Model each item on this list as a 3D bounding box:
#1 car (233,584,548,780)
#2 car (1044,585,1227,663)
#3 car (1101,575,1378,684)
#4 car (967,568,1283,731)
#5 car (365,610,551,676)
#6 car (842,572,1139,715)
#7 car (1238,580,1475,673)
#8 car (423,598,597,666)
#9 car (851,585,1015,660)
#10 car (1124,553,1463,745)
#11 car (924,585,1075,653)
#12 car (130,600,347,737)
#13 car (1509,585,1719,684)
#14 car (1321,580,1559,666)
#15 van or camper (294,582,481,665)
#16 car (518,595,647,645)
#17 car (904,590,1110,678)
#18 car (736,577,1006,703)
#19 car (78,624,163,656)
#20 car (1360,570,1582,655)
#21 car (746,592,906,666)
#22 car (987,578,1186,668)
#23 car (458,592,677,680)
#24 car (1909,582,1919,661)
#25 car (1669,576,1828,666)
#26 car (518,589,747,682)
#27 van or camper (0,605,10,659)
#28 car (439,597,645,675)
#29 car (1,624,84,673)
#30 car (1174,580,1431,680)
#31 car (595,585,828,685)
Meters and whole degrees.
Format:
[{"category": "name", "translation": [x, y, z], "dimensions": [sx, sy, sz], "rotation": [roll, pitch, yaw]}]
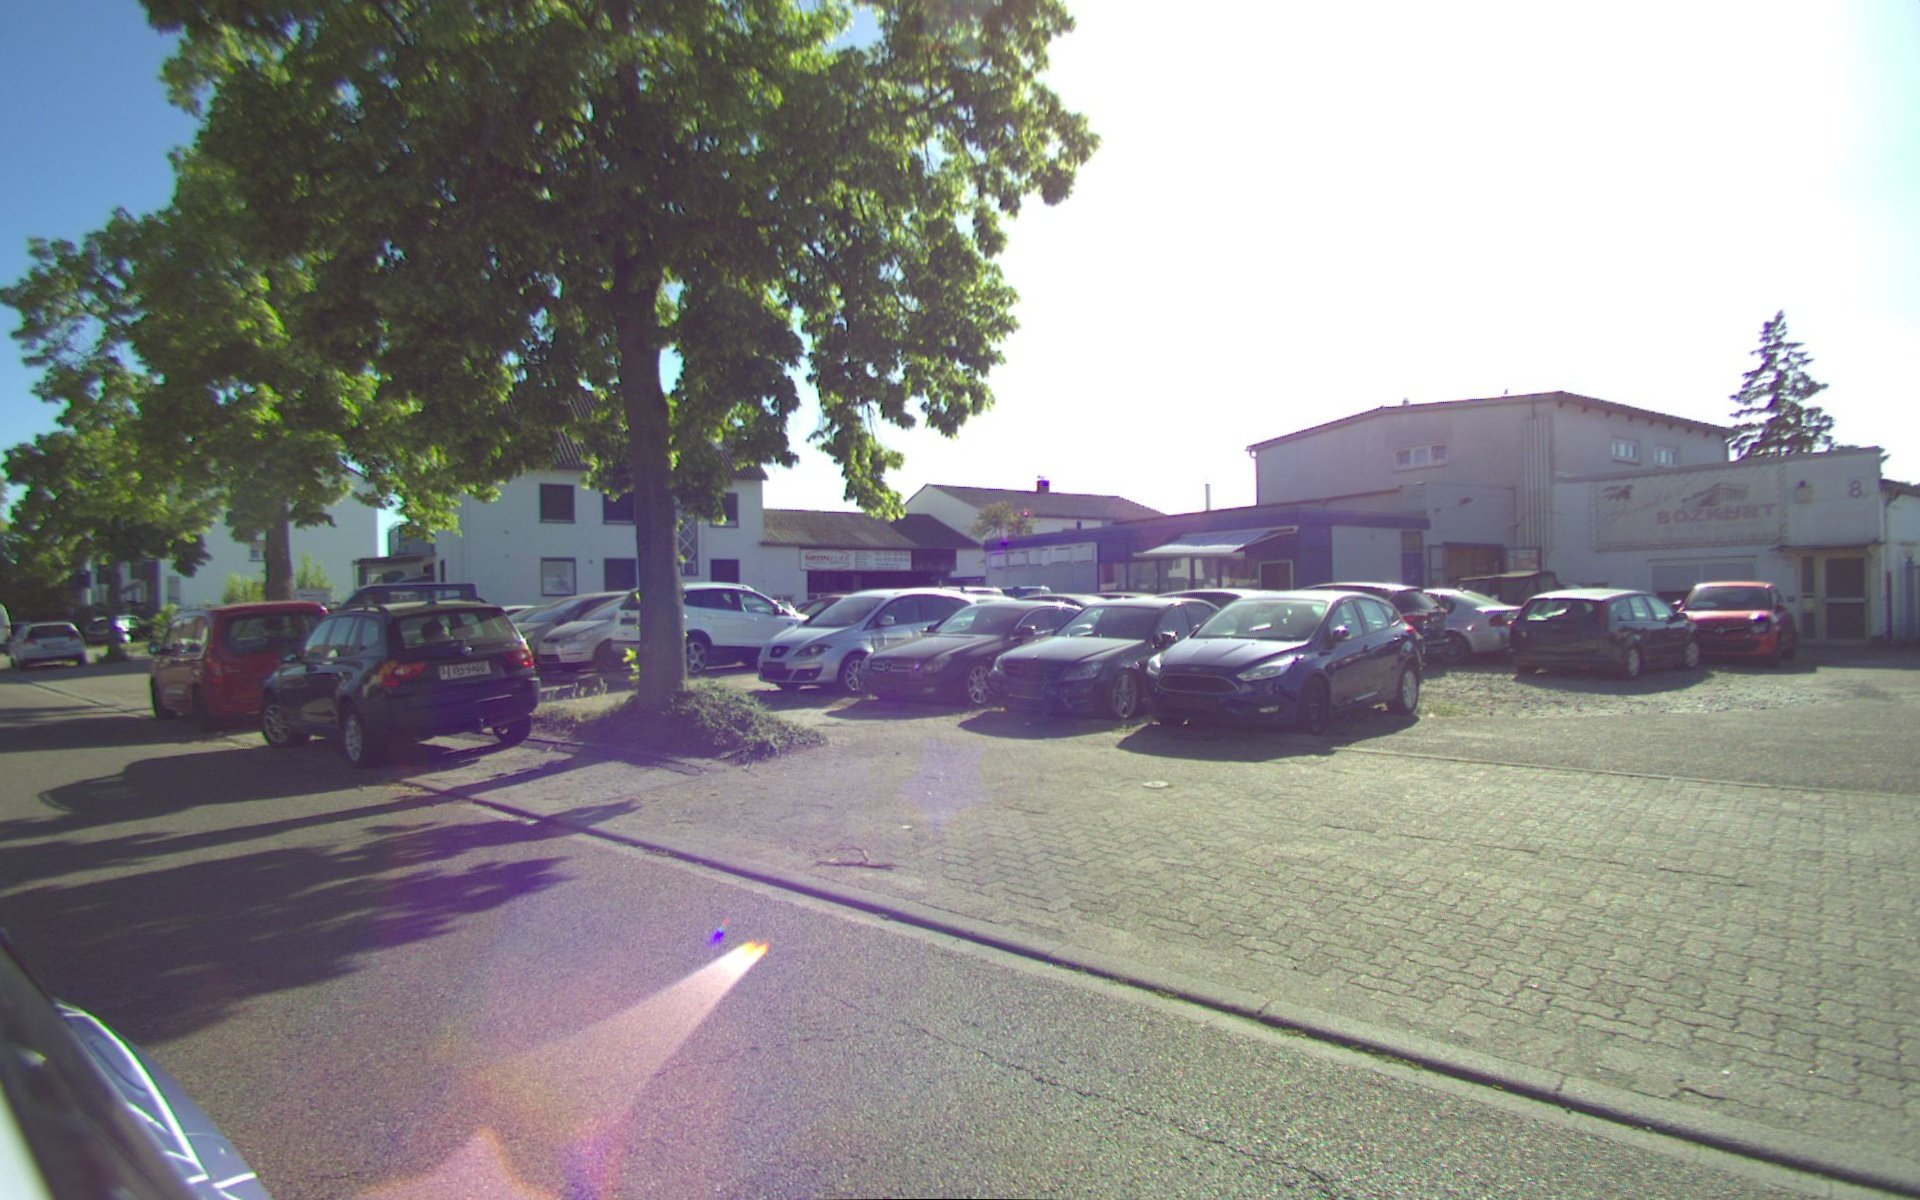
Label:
[{"category": "car", "translation": [-6.669, 0.812, 11.615], "dimensions": [4.552, 1.784, 1.657], "rotation": [-2, 2, 41]}, {"category": "car", "translation": [3.833, 0.514, 22.583], "dimensions": [1.644, 1.576, 3.785], "rotation": [-1, 0, -43]}, {"category": "car", "translation": [4.365, 0.439, 16.270], "dimensions": [1.644, 1.528, 4.004], "rotation": [-1, 0, -43]}, {"category": "car", "translation": [2.226, 0.529, 12.885], "dimensions": [4.198, 1.742, 1.767], "rotation": [-1, -1, -43]}, {"category": "car", "translation": [-13.600, 1.113, 27.589], "dimensions": [4.198, 1.553, 1.767], "rotation": [-2, 0, -43]}, {"category": "car", "translation": [0.552, 0.527, 14.448], "dimensions": [4.198, 1.742, 1.767], "rotation": [-1, -1, -43]}, {"category": "car", "translation": [7.445, 0.472, 19.245], "dimensions": [1.644, 1.576, 3.853], "rotation": [-1, 0, -43]}, {"category": "car", "translation": [-11.451, 0.767, 25.952], "dimensions": [1.547, 1.553, 3.765], "rotation": [-2, 0, 41]}, {"category": "car", "translation": [-0.716, 0.512, 23.968], "dimensions": [1.644, 1.631, 4.004], "rotation": [-1, 0, -43]}, {"category": "car", "translation": [3.837, 0.442, 11.241], "dimensions": [4.198, 1.742, 1.767], "rotation": [-1, -1, -43]}, {"category": "car", "translation": [0.929, 0.480, 25.524], "dimensions": [1.644, 1.576, 3.720], "rotation": [-1, 0, -43]}, {"category": "car", "translation": [-11.307, 0.963, 15.746], "dimensions": [4.340, 1.765, 1.785], "rotation": [-2, 1, 42]}, {"category": "car", "translation": [11.146, 0.505, 17.171], "dimensions": [3.934, 1.461, 1.673], "rotation": [-1, 1, -36]}, {"category": "car", "translation": [9.503, 0.438, 20.329], "dimensions": [1.642, 1.528, 4.010], "rotation": [-1, 0, -35]}, {"category": "van or camper", "translation": [-17.825, 0.648, 31.595], "dimensions": [4.828, 2.337, 2.249], "rotation": [-2, 1, -36]}, {"category": "car", "translation": [-13.095, 0.646, 35.175], "dimensions": [3.929, 1.591, 1.683], "rotation": [0, 1, -36]}, {"category": "car", "translation": [0.830, 0.631, 19.745], "dimensions": [1.644, 1.528, 4.004], "rotation": [-1, 0, -43]}, {"category": "car", "translation": [-1.307, 0.559, 16.239], "dimensions": [1.766, 1.742, 4.202], "rotation": [-1, -1, 43]}, {"category": "car", "translation": [-46.509, 2.183, 56.171], "dimensions": [1.589, 1.525, 4.396], "rotation": [-2, 0, -9]}, {"category": "car", "translation": [11.034, 0.268, 22.121], "dimensions": [1.642, 1.666, 4.010], "rotation": [-1, 0, -35]}, {"category": "car", "translation": [-3.175, 0.645, 23.363], "dimensions": [1.644, 1.528, 4.004], "rotation": [-1, 0, -43]}, {"category": "car", "translation": [2.553, 0.469, 21.217], "dimensions": [1.644, 1.706, 4.004], "rotation": [-1, 0, -43]}, {"category": "car", "translation": [-8.629, 0.722, 22.490], "dimensions": [1.766, 1.766, 4.201], "rotation": [-2, -1, 44]}, {"category": "car", "translation": [19.188, 0.346, 19.014], "dimensions": [3.559, 1.433, 1.591], "rotation": [-1, 0, -41]}, {"category": "car", "translation": [15.360, 0.352, 19.644], "dimensions": [3.938, 1.564, 1.672], "rotation": [-1, 0, -41]}, {"category": "car", "translation": [-6.729, 0.657, 21.073], "dimensions": [4.198, 1.742, 1.767], "rotation": [-1, -1, -43]}, {"category": "van or camper", "translation": [-47.467, 1.656, 48.604], "dimensions": [5.553, 2.508, 2.101], "rotation": [-3, 0, 42]}, {"category": "car", "translation": [-9.926, 0.804, 24.266], "dimensions": [1.764, 1.597, 4.206], "rotation": [-2, 0, 40]}, {"category": "car", "translation": [-30.822, 1.595, 33.958], "dimensions": [4.209, 1.446, 1.669], "rotation": [-2, 2, 43]}, {"category": "car", "translation": [5.970, 0.497, 17.971], "dimensions": [1.644, 1.576, 4.004], "rotation": [-1, 0, -43]}, {"category": "car", "translation": [-4.771, 0.614, 19.887], "dimensions": [1.765, 1.742, 4.204], "rotation": [-1, -1, 42]}]
